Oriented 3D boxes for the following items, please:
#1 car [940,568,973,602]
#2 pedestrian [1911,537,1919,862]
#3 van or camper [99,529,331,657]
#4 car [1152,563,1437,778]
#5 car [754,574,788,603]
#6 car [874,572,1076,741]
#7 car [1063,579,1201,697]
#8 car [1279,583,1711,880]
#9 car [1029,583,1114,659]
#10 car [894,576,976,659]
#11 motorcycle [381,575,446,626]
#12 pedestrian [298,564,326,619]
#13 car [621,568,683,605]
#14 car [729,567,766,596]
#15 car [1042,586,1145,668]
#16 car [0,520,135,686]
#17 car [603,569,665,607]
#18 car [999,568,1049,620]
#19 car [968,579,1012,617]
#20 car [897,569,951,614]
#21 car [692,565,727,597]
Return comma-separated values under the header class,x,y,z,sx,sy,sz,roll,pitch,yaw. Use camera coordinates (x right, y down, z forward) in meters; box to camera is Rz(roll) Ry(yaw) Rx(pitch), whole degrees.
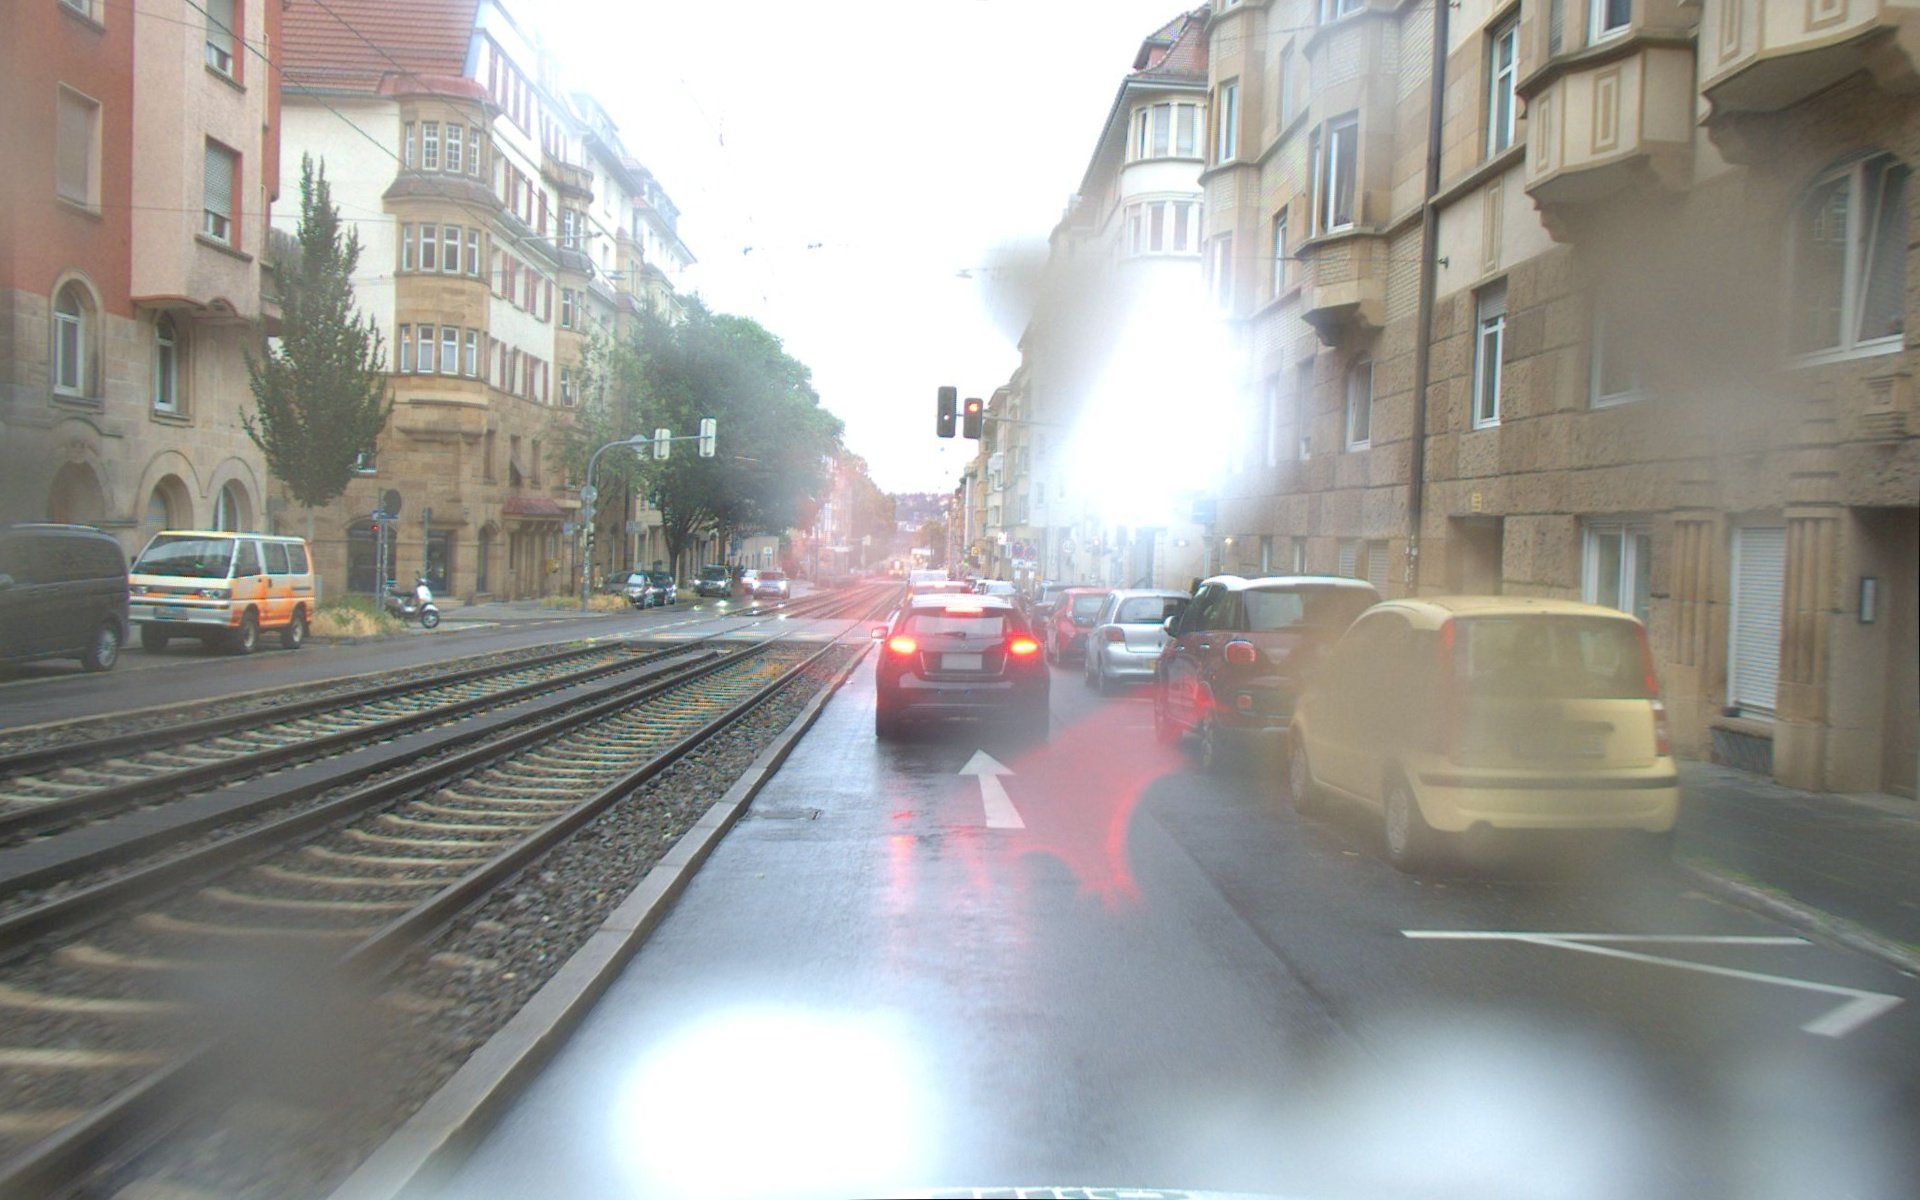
class,x,y,z,sx,sy,sz,roll,pitch,yaw
car,-0.205,-0.804,92.217,1.815,1.829,3.811,1,0,-1
pedestrian,5.641,0.547,8.756,0.844,1.763,0.609,1,0,-1
van or camper,-12.551,-0.125,28.238,1.954,1.934,4.696,2,0,-3
car,2.891,0.536,15.137,1.676,1.657,3.999,2,1,-1
car,-10.699,-0.657,93.910,1.760,1.575,3.996,-1,1,-5
car,0.076,0.539,17.601,1.907,1.592,3.641,1,0,-2
car,2.480,0.511,24.531,1.604,1.569,3.465,2,0,-1
car,3.164,0.680,10.471,1.527,1.504,3.460,2,1,-1
car,2.438,0.418,36.953,1.518,1.534,4.000,2,1,-1
car,-0.499,0.306,33.499,1.504,1.536,4.000,2,1,-1
motorcycle,-12.767,0.009,38.631,1.409,1.154,0.619,2,0,29
pedestrian,-21.020,-0.284,53.645,0.595,1.763,0.642,2,0,0
car,-13.410,-0.599,72.200,1.953,1.544,3.999,2,1,-1
car,-14.128,-1.260,110.385,1.953,1.825,4.000,2,1,-1
car,2.527,0.477,31.941,1.570,1.444,3.147,1,1,-3
car,-12.213,0.017,20.347,1.954,1.934,4.696,0,0,-3
car,-13.159,-0.484,66.883,1.735,1.489,3.999,1,0,-1
car,2.618,-0.216,68.512,1.860,2.063,4.175,1,0,-1
car,1.435,-0.069,81.079,1.734,1.807,3.996,1,0,-5
car,-1.461,-0.363,65.137,1.884,1.684,3.997,1,1,-4
car,-14.044,-1.090,92.940,1.755,1.721,3.994,1,1,-7
